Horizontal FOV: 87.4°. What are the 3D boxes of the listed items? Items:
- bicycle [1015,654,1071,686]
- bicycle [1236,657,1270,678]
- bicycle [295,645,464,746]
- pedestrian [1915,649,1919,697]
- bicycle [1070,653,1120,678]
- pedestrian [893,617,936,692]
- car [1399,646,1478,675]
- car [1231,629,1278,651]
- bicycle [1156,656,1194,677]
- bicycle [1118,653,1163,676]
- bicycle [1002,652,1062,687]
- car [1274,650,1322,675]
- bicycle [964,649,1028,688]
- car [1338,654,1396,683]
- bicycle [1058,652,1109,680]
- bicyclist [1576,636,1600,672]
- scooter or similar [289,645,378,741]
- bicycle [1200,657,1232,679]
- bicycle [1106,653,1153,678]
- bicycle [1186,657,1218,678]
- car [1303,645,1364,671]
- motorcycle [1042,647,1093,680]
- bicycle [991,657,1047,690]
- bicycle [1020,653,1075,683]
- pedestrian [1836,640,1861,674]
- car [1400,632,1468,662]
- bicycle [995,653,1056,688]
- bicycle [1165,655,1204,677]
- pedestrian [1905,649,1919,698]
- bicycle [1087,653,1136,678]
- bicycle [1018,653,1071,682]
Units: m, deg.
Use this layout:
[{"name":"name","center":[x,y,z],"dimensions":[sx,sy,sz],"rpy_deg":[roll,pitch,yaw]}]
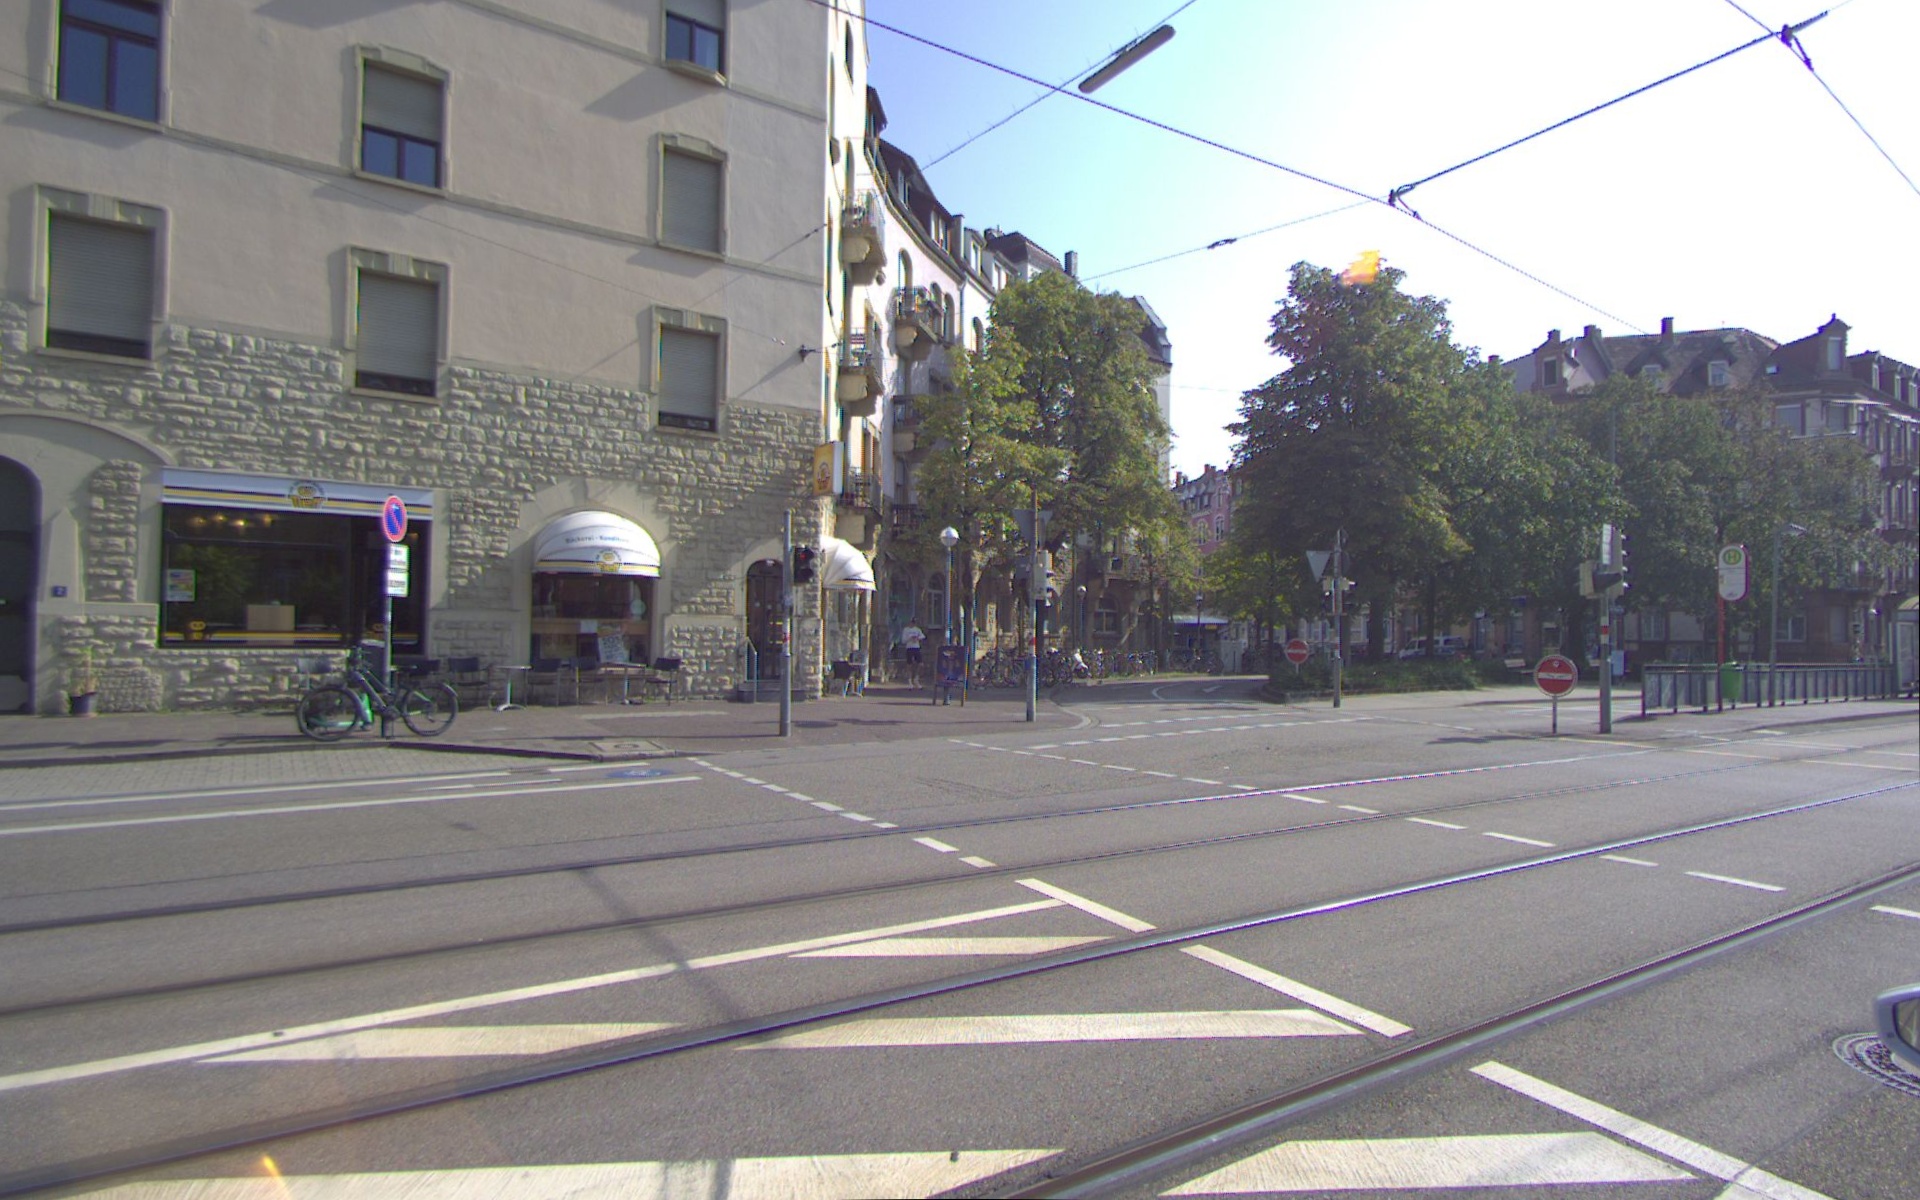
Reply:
[{"name":"bicycle","center":[2.803,2.337,33.790],"dimensions":[1.769,0.997,0.570],"rpy_deg":[1,-2,17]},{"name":"bicycle","center":[14.545,3.327,49.891],"dimensions":[0.597,0.990,1.760],"rpy_deg":[1,-2,-24]},{"name":"bicycle","center":[-7.552,1.212,13.142],"dimensions":[1.844,1.242,0.449],"rpy_deg":[3,-3,-43]},{"name":"pedestrian","center":[28.251,2.126,29.018],"dimensions":[0.769,1.376,0.822],"rpy_deg":[2,-2,-37]},{"name":"bicycle","center":[5.449,2.641,40.503],"dimensions":[1.875,0.947,0.738],"rpy_deg":[1,-2,24]},{"name":"pedestrian","center":[-1.197,1.429,26.383],"dimensions":[0.767,1.918,0.886],"rpy_deg":[2,-2,-32]},{"name":"car","center":[27.781,3.506,58.437],"dimensions":[1.965,1.589,4.328],"rpy_deg":[1,-2,-11]},{"name":"car","center":[25.373,3.423,86.732],"dimensions":[1.969,1.852,3.983],"rpy_deg":[1,-2,-19]},{"name":"bicycle","center":[10.294,3.175,48.096],"dimensions":[1.741,0.990,0.518],"rpy_deg":[-1,-3,36]},{"name":"bicycle","center":[7.940,2.842,44.215],"dimensions":[1.850,0.947,0.636],"rpy_deg":[0,-3,40]},{"name":"bicycle","center":[2.317,2.226,32.435],"dimensions":[1.841,1.047,0.570],"rpy_deg":[1,-2,19]},{"name":"car","center":[26.868,4.976,79.949],"dimensions":[1.964,1.852,3.993],"rpy_deg":[1,-2,-10]},{"name":"bicycle","center":[1.080,2.062,30.159],"dimensions":[1.845,1.127,0.569],"rpy_deg":[2,-2,-12]},{"name":"car","center":[28.575,4.780,70.613],"dimensions":[1.964,1.852,3.993],"rpy_deg":[1,-2,-10]},{"name":"bicycle","center":[4.832,2.567,39.384],"dimensions":[1.842,1.041,0.664],"rpy_deg":[1,-2,24]},{"name":"bicyclist","center":[33.192,2.850,53.108],"dimensions":[0.969,1.881,0.493],"rpy_deg":[0,-2,12]},{"name":"scooter or similar","center":[-8.296,1.203,13.341],"dimensions":[0.359,1.213,1.035],"rpy_deg":[0,-2,12]},{"name":"bicycle","center":[12.135,3.207,47.545],"dimensions":[1.751,0.990,0.422],"rpy_deg":[2,-3,-33]},{"name":"bicycle","center":[7.239,2.763,42.818],"dimensions":[1.864,0.993,0.686],"rpy_deg":[1,-2,24]},{"name":"bicycle","center":[11.457,3.189,47.543],"dimensions":[1.751,0.990,0.422],"rpy_deg":[2,-3,-33]},{"name":"car","center":[25.096,3.883,67.634],"dimensions":[1.964,1.589,4.330],"rpy_deg":[1,-2,-10]},{"name":"motorcycle","center":[4.123,2.425,38.554],"dimensions":[1.839,1.169,0.607],"rpy_deg":[1,-2,24]},{"name":"bicycle","center":[1.724,2.152,29.518],"dimensions":[1.578,0.932,0.479],"rpy_deg":[2,-2,-2]},{"name":"bicycle","center":[3.050,2.363,34.979],"dimensions":[1.769,0.996,0.661],"rpy_deg":[1,-2,17]},{"name":"pedestrian","center":[47.688,3.051,53.905],"dimensions":[0.756,1.753,0.752],"rpy_deg":[0,-2,20]},{"name":"car","center":[29.789,2.939,63.263],"dimensions":[1.964,1.852,3.993],"rpy_deg":[1,-2,-10]},{"name":"bicycle","center":[2.022,2.171,30.969],"dimensions":[1.840,1.016,0.570],"rpy_deg":[1,-2,4]},{"name":"bicycle","center":[10.868,3.198,48.629],"dimensions":[1.741,0.990,0.603],"rpy_deg":[-1,-3,35]},{"name":"pedestrian","center":[27.453,2.091,28.472],"dimensions":[0.769,1.376,0.822],"rpy_deg":[2,-2,-37]},{"name":"bicycle","center":[6.293,2.712,41.782],"dimensions":[1.864,0.993,0.686],"rpy_deg":[1,-2,24]},{"name":"bicycle","center":[3.029,2.406,35.993],"dimensions":[1.769,0.989,0.661],"rpy_deg":[1,-2,17]}]
